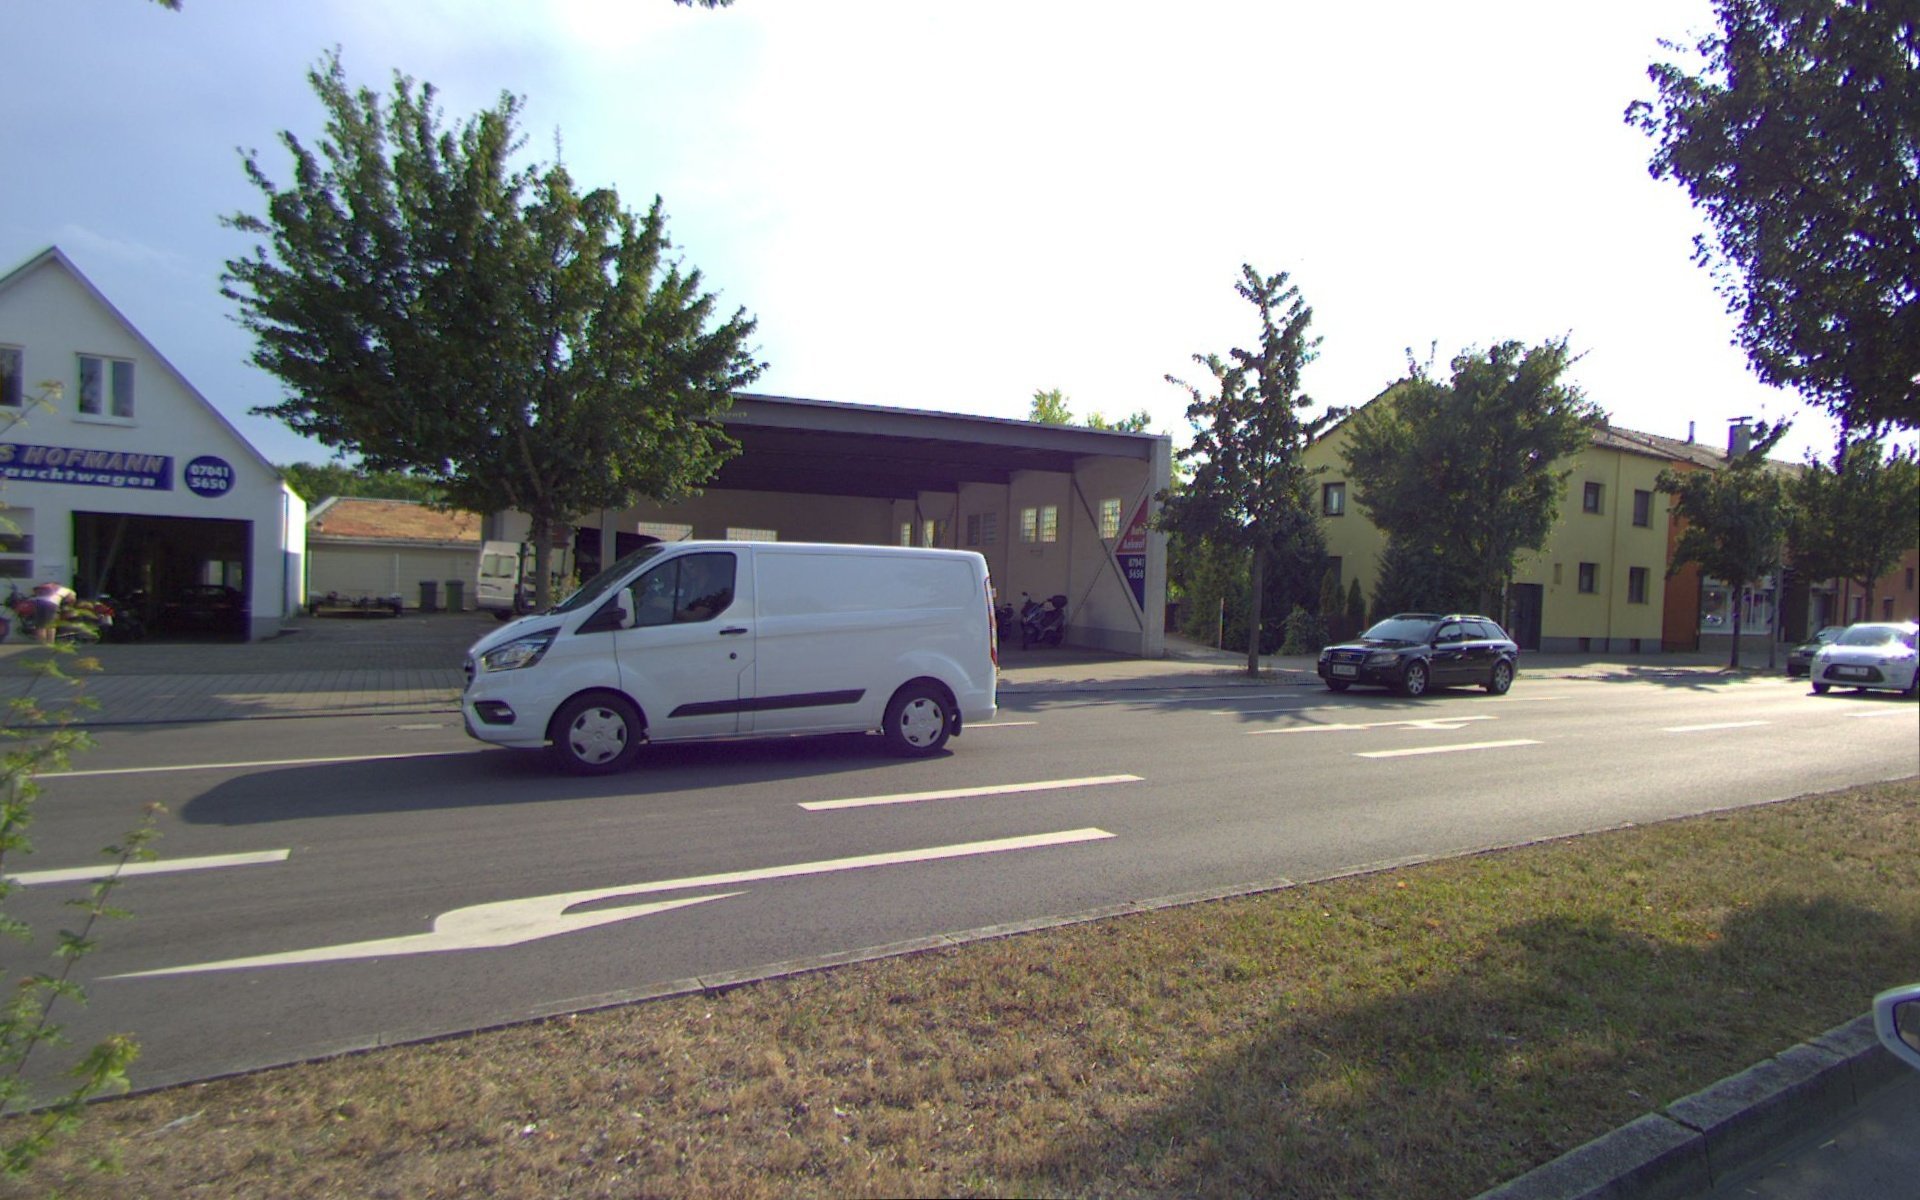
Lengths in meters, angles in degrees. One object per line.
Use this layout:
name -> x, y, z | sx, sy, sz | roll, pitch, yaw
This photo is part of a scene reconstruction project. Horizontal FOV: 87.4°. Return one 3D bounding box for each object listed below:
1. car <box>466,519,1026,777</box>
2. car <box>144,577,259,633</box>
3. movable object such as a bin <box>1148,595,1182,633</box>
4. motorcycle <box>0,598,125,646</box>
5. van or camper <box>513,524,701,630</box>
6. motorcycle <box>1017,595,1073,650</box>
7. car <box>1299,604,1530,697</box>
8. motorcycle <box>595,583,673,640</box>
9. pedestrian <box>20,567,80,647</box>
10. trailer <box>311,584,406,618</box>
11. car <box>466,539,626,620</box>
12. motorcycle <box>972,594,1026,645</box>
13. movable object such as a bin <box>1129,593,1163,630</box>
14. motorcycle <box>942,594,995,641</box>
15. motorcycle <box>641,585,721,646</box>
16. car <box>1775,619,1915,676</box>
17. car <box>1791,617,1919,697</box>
car -> -1.937, 0.413, 9.541 | 4.883, 1.949, 1.815 | 2, 0, -28
car -> -20.935, 0.112, 27.891 | 1.863, 1.403, 4.054 | 1, 0, -28
movable object such as a bin -> 6.405, 0.434, 31.390 | 0.688, 1.101, 0.727 | 1, 4, -30
motorcycle -> -18.312, 0.442, 20.257 | 2.182, 0.932, 0.504 | 2, 0, -27
van or camper -> -9.795, -0.585, 28.368 | 1.963, 2.716, 5.033 | 2, 0, 26
motorcycle -> 2.180, 0.562, 25.461 | 0.553, 1.325, 2.112 | 2, 0, 30
car -> 8.446, 0.902, 18.599 | 4.196, 1.517, 1.798 | 2, 0, -30
motorcycle -> -7.957, 0.279, 24.584 | 0.637, 1.329, 2.007 | 2, 0, 22
pedestrian -> -17.917, 0.141, 19.794 | 0.664, 1.543, 0.650 | 1, 0, -23
trailer -> -18.733, 0.017, 31.250 | 2.425, 0.836, 3.163 | 2, 2, -33
car -> -12.582, -0.575, 30.843 | 2.158, 2.279, 4.386 | 2, 0, 19
motorcycle -> 1.079, 0.525, 27.322 | 0.553, 1.325, 2.086 | 2, 0, 30
movable object such as a bin -> 5.959, 0.369, 32.155 | 0.712, 1.101, 0.727 | 1, 4, -30
motorcycle -> 0.269, 0.496, 29.566 | 0.612, 1.325, 2.086 | 2, 0, 30
motorcycle -> -6.419, 0.341, 23.215 | 0.637, 1.329, 2.007 | 2, 0, 22
car -> 25.653, 1.348, 29.079 | 4.657, 1.482, 1.678 | 2, 0, -31
car -> 19.703, 1.185, 21.569 | 3.914, 1.517, 1.790 | 2, 0, -34
